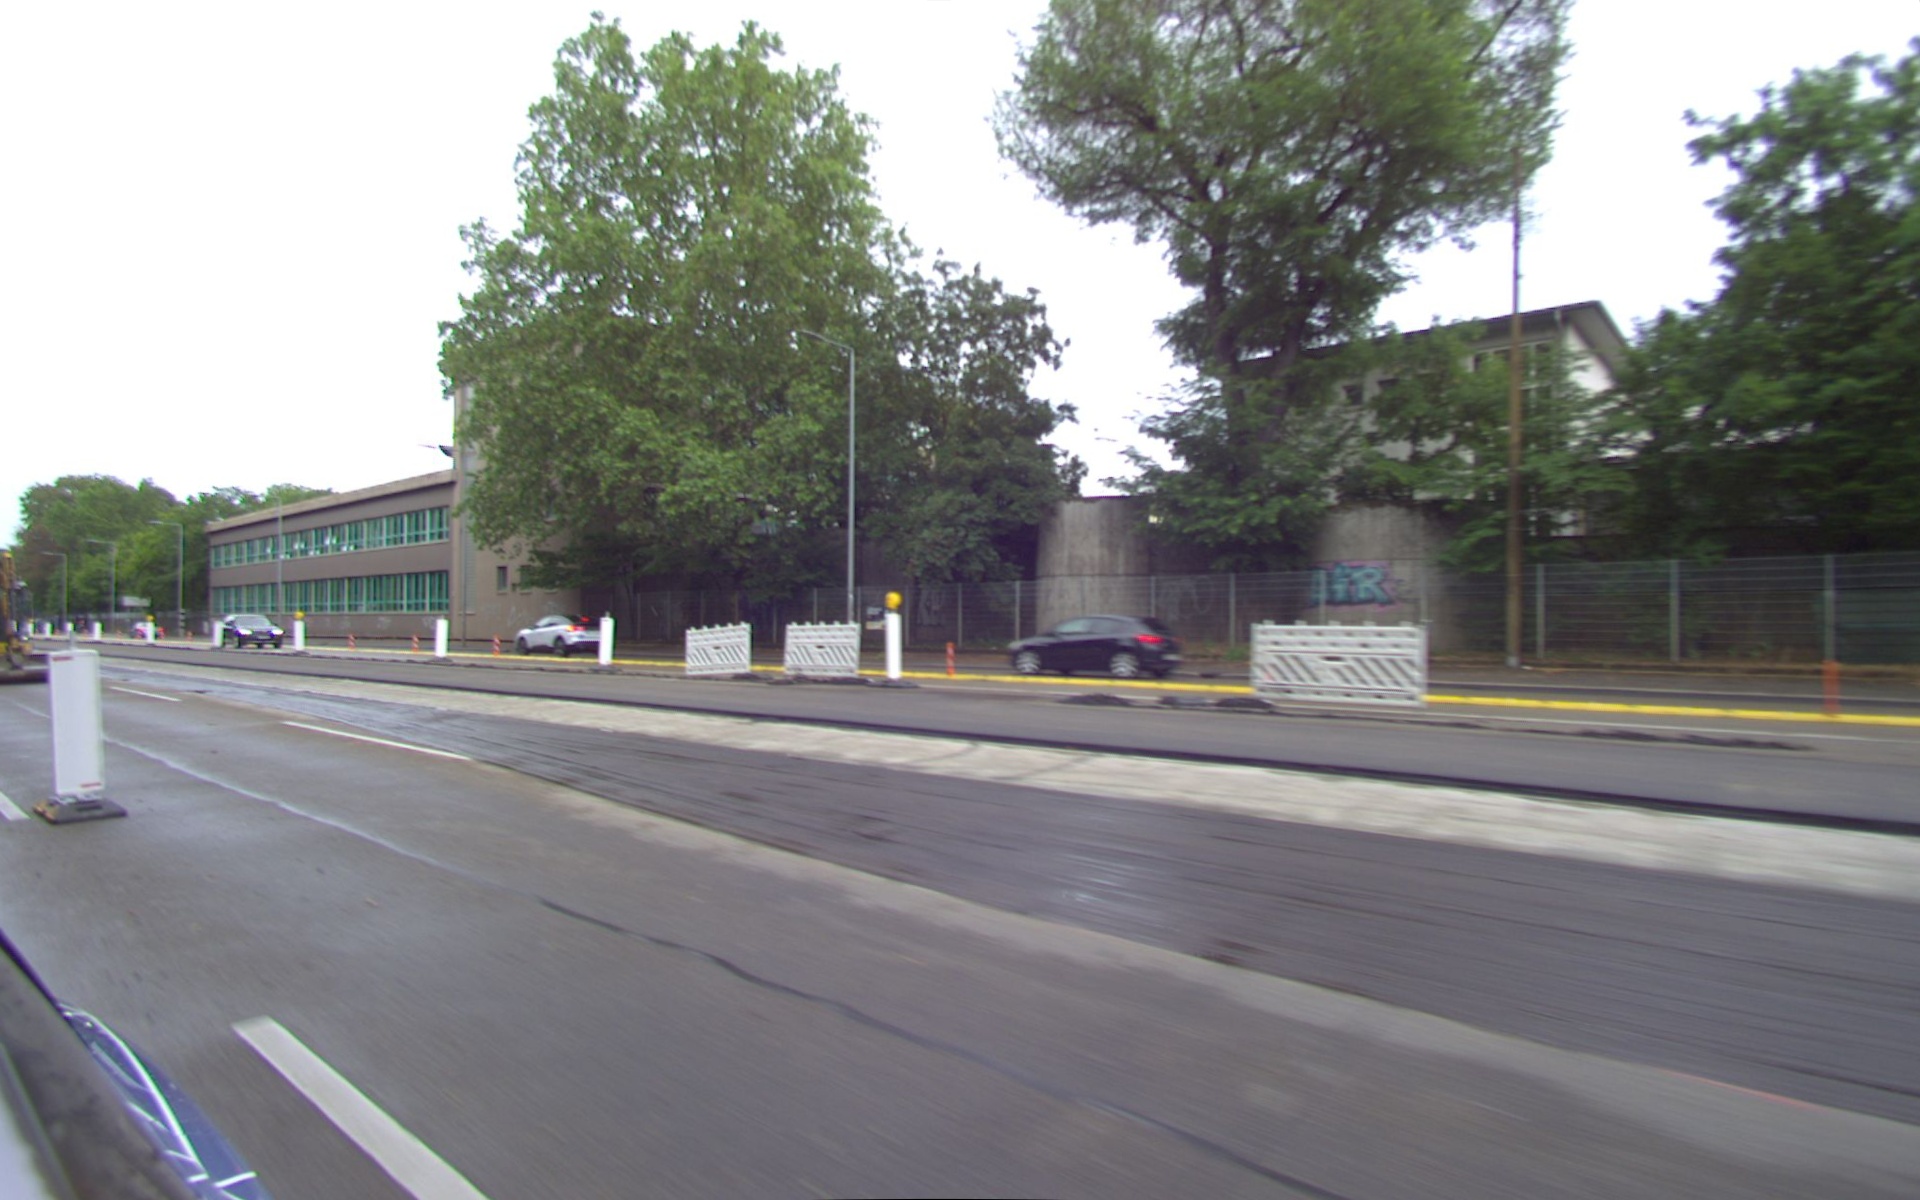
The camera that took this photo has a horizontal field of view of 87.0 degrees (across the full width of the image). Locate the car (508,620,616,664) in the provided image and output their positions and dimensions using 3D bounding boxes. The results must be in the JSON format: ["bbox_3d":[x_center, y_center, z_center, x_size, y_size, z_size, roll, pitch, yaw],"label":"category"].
[{"bbox_3d":[-13.978,1.432,35.460,4.146,1.445,1.817,-1,-1,41],"label":"car"}]

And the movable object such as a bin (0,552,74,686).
[{"bbox_3d":[-24.314,0.483,25.504,5.617,3.125,1.974,-1,-1,38],"label":"movable object such as a bin"}]

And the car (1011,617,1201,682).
[{"bbox_3d":[3.340,1.113,23.615,4.167,1.393,1.688,-2,-3,41],"label":"car"}]

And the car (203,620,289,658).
[{"bbox_3d":[-34.784,1.945,49.284,4.977,1.719,1.974,-3,-6,38],"label":"car"}]
